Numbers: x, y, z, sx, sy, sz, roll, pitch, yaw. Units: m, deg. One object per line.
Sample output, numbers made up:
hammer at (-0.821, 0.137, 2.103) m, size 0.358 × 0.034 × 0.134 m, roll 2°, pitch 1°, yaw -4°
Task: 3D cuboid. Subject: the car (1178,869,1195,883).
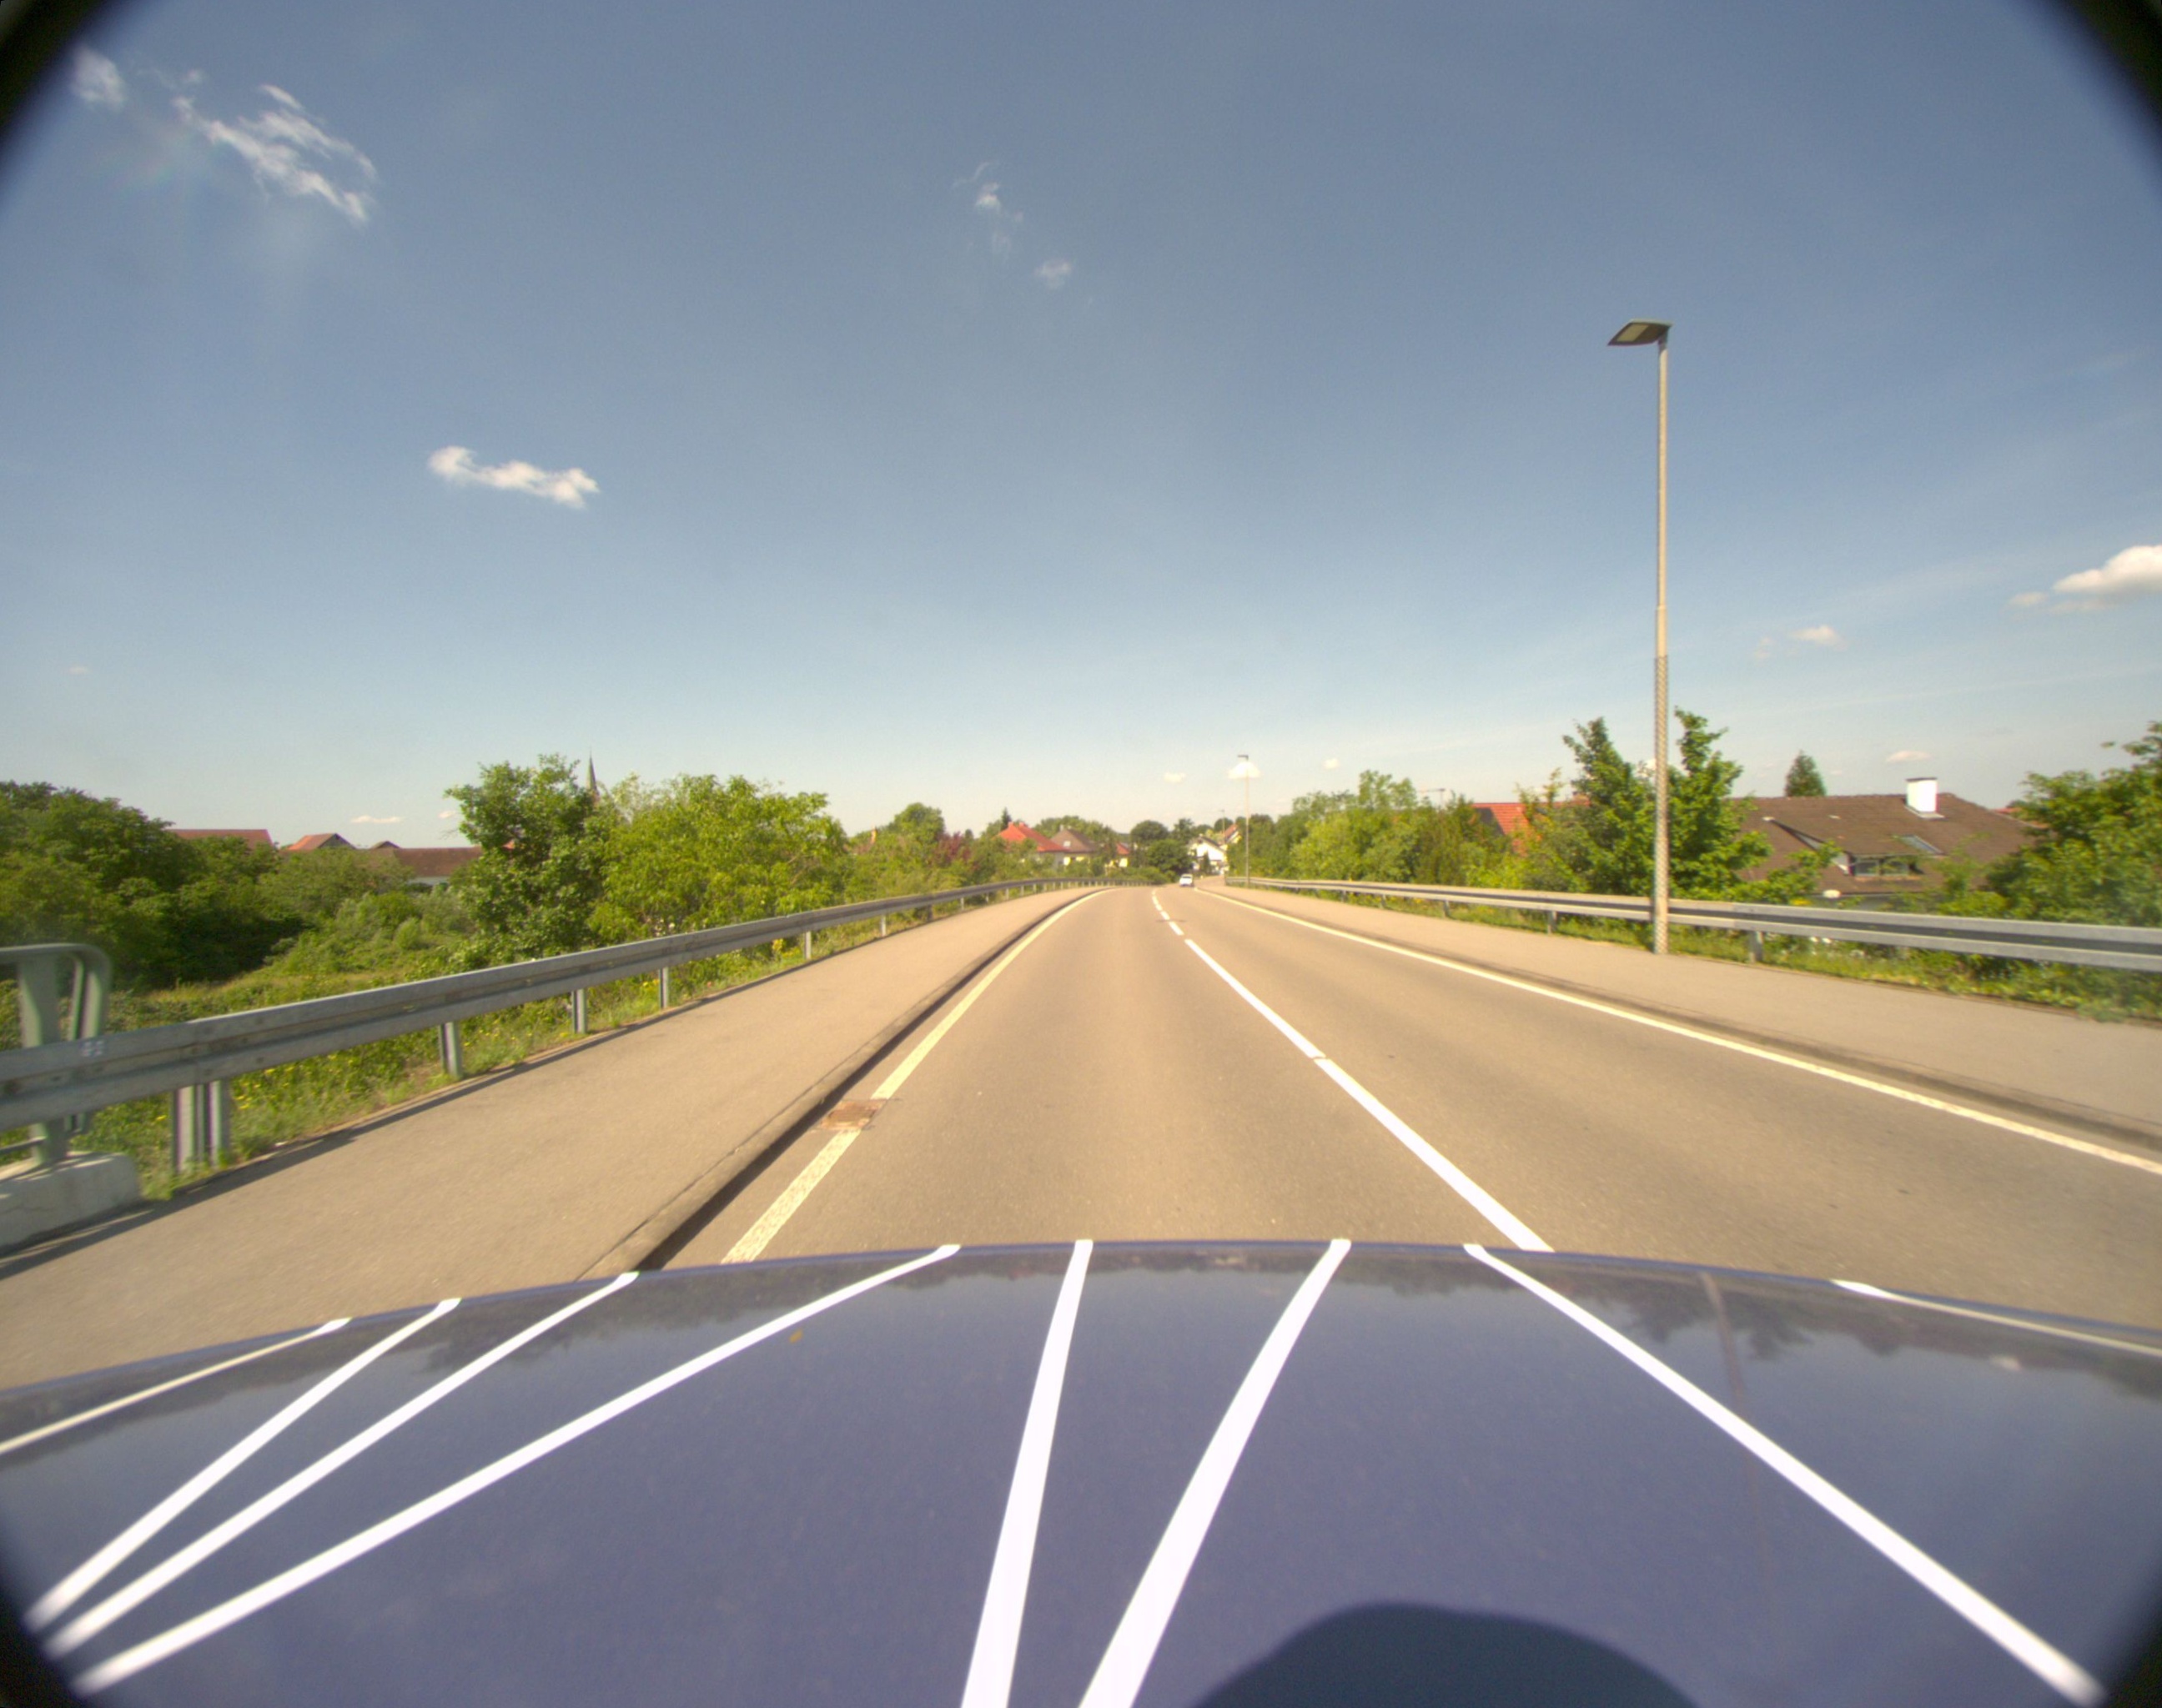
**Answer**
car at (16.315, 3.440, 117.649) m, size 2.092 × 1.751 × 4.281 m, roll -3°, pitch 2°, yaw 2°
